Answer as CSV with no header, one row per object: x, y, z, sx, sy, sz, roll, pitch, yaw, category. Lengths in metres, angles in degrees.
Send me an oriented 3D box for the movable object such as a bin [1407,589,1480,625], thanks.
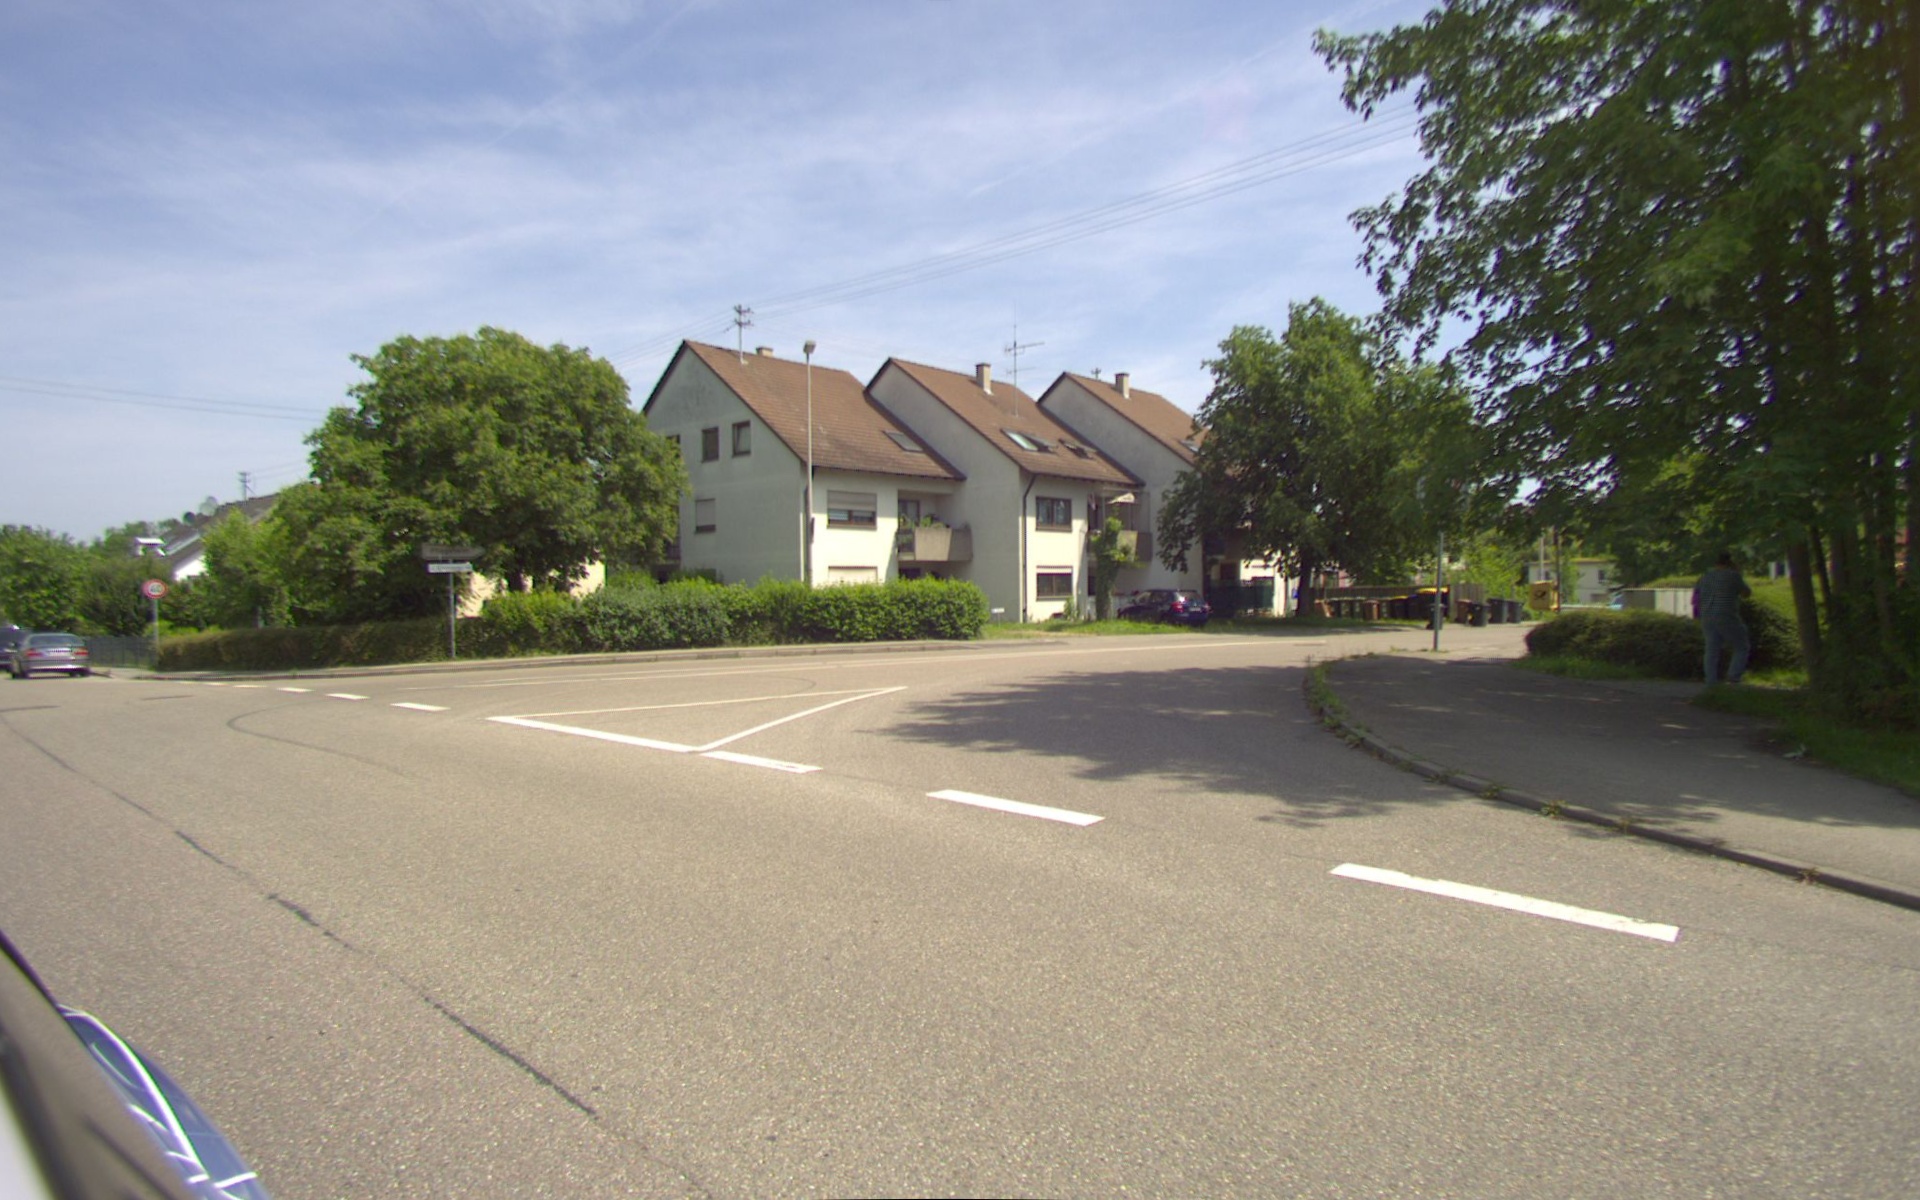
19.671,0.294,41.233,2.170,1.398,1.520,-1,-2,-15,movable object such as a bin

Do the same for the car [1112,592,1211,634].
7.049,0.437,35.708,1.373,1.372,3.618,-2,0,-30,car

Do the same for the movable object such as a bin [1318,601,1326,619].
15.645,0.427,43.694,0.247,0.734,0.236,-1,0,4,movable object such as a bin

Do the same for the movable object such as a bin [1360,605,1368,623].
17.021,0.589,42.672,0.227,0.734,0.236,-1,0,4,movable object such as a bin

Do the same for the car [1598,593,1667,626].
29.864,0.459,44.908,3.811,1.345,1.758,2,-3,-44,car

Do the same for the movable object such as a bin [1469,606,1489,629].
19.941,0.676,38.879,0.509,0.881,0.519,-1,0,4,movable object such as a bin

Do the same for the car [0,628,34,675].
-41.758,2.287,43.775,4.866,1.935,1.877,-4,-4,40,car

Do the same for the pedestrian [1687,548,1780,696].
9.676,0.270,12.667,0.725,1.791,0.692,1,-1,-30,pedestrian

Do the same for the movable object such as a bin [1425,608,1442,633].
17.152,0.732,36.662,0.386,0.881,0.397,-2,0,-41,movable object such as a bin

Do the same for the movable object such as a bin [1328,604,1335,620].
16.779,0.541,45.663,0.227,0.734,0.236,-1,0,4,movable object such as a bin

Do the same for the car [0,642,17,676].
-47.393,2.935,49.206,4.240,1.561,1.792,-4,-2,40,car

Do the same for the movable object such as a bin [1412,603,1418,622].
19.373,0.537,43.072,0.229,0.811,0.234,-1,0,26,movable object such as a bin

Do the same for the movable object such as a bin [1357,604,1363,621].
17.711,0.552,44.799,0.228,0.734,0.235,-1,0,16,movable object such as a bin

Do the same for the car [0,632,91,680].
-29.239,1.768,32.310,4.408,1.405,1.761,-3,-2,43,car

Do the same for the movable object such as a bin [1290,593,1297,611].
14.246,0.079,43.225,0.247,0.734,0.236,-1,0,4,movable object such as a bin

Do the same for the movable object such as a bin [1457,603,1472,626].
19.971,0.573,40.074,0.367,0.863,0.373,-1,0,-9,movable object such as a bin

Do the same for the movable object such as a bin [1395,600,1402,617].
18.849,0.375,43.517,0.229,0.734,0.234,-1,0,26,movable object such as a bin

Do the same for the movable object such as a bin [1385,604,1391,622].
18.527,0.561,43.832,0.229,0.734,0.234,-1,0,26,movable object such as a bin

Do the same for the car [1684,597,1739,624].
40.514,0.567,54.556,3.811,1.345,1.758,2,-3,-44,car
